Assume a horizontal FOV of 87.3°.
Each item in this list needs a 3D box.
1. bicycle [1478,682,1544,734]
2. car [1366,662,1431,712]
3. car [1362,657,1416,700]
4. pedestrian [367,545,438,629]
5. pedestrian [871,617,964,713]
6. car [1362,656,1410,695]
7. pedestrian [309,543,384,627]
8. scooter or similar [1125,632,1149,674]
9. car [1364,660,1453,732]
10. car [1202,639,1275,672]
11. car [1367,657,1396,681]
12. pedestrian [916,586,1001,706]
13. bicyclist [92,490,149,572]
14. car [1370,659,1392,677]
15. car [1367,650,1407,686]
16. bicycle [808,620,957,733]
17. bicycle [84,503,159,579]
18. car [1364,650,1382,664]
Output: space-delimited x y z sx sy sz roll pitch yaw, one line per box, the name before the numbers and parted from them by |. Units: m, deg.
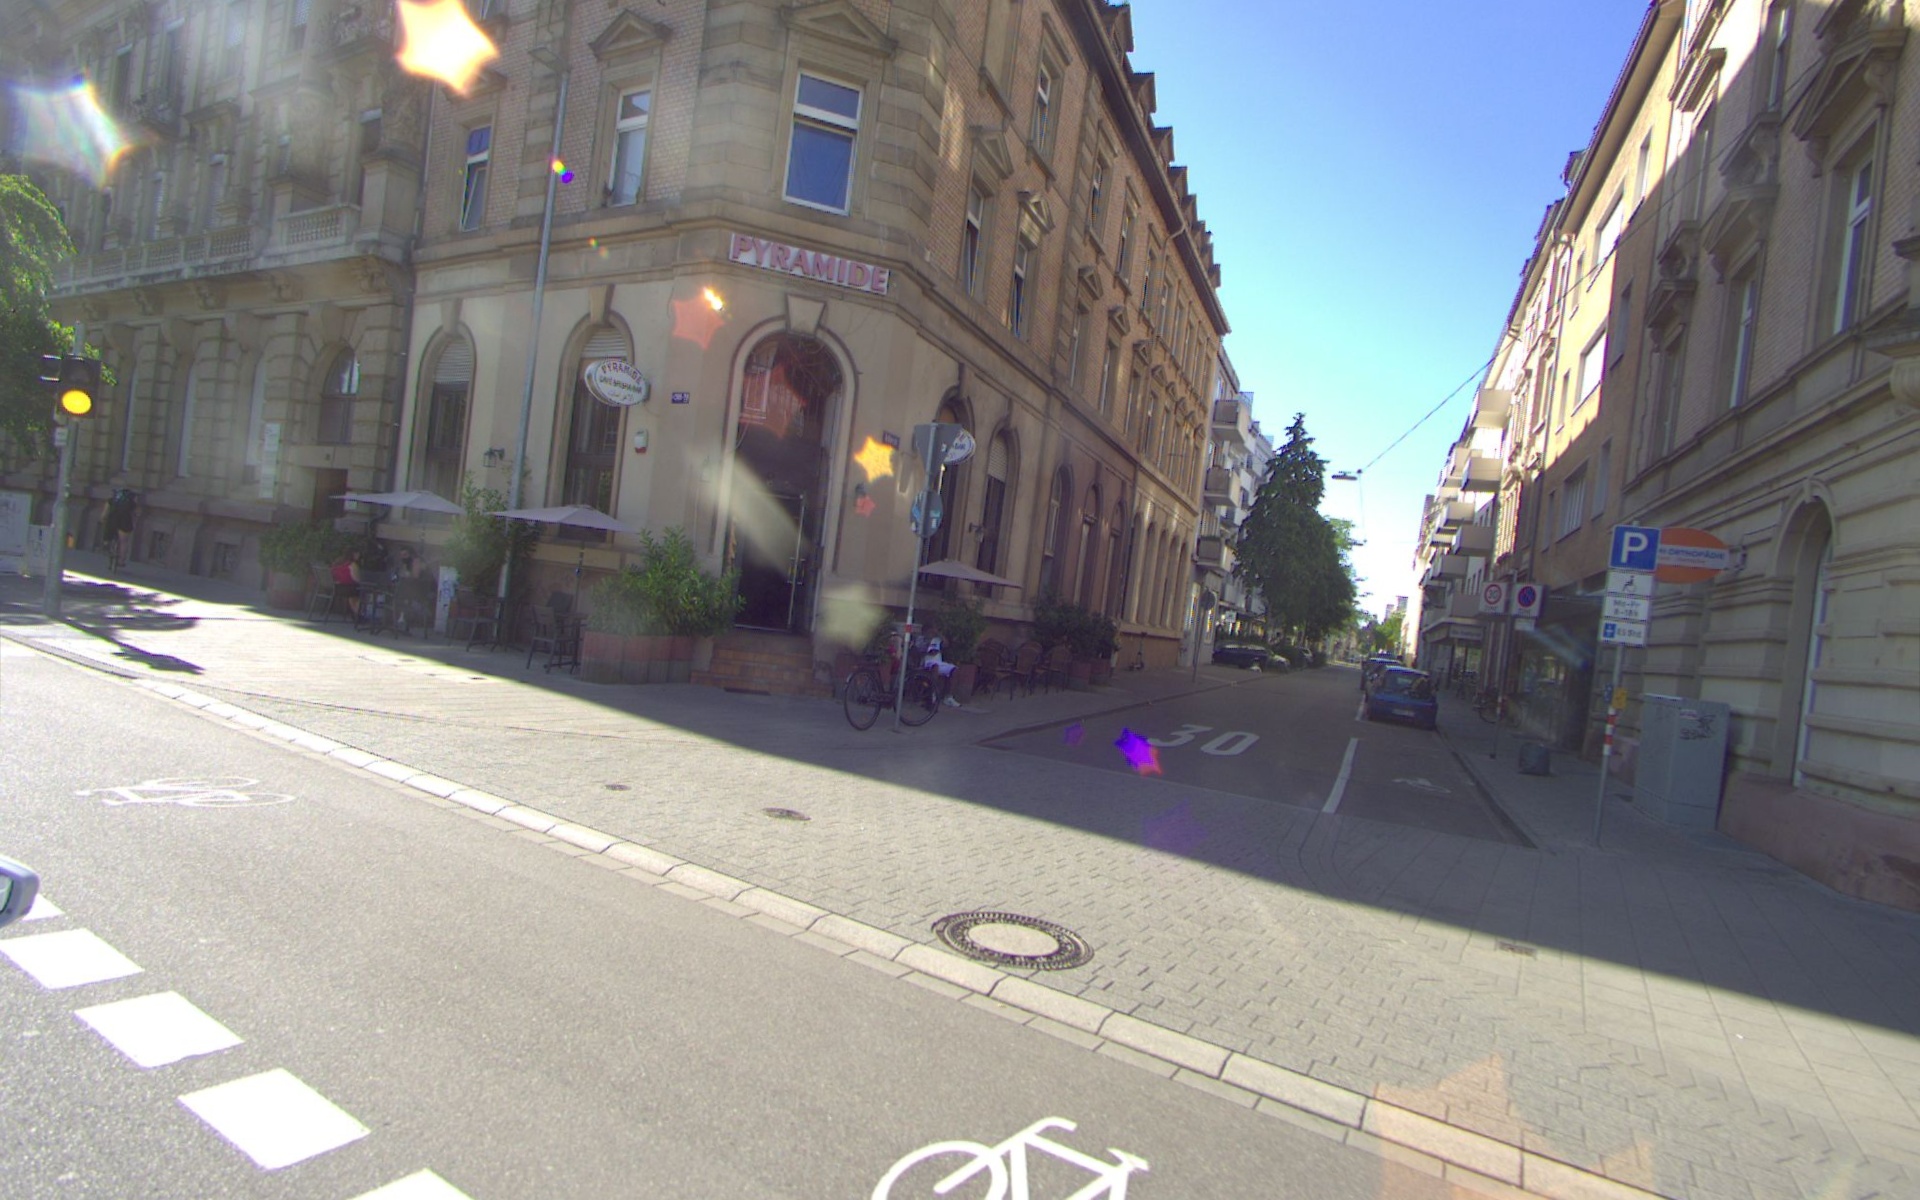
bicycle | 15.399 2.993 28.179 0.621 1.193 2.014 7 0 1
car | 15.225 2.983 35.077 1.769 1.351 3.999 9 1 22
car | 17.454 3.164 41.071 1.769 1.450 3.772 7 0 22
pedestrian | -8.976 -0.202 16.196 0.624 1.253 0.706 7 2 31
pedestrian | -0.600 0.932 14.512 0.917 1.229 0.852 7 0 25
car | 19.323 3.391 45.751 1.769 1.450 3.772 7 0 22
pedestrian | -9.422 -0.222 15.447 0.624 1.193 0.706 7 2 31
scooter or similar | 5.538 1.649 31.433 0.344 1.237 1.526 7 0 20
car | 11.785 2.466 26.642 1.769 1.437 3.999 9 1 22
car | 15.000 2.979 54.283 3.295 1.299 1.707 7 0 -7
car | 30.293 4.949 72.283 1.769 1.450 3.771 7 0 23
pedestrian | -0.020 0.743 16.107 0.852 1.781 0.909 7 0 25
bicyclist | -16.836 -1.384 20.179 0.787 1.552 0.660 8 5 33
car | 40.513 6.563 96.810 1.769 1.450 3.771 7 0 23
car | 23.419 3.692 55.184 1.769 1.686 3.772 7 0 23
bicycle | -0.909 0.937 12.298 0.643 1.186 1.818 12 3 35
bicycle | -16.803 -1.192 20.146 1.869 1.349 0.615 7 5 33
car | 49.409 6.807 120.221 1.769 1.450 3.771 7 0 23
